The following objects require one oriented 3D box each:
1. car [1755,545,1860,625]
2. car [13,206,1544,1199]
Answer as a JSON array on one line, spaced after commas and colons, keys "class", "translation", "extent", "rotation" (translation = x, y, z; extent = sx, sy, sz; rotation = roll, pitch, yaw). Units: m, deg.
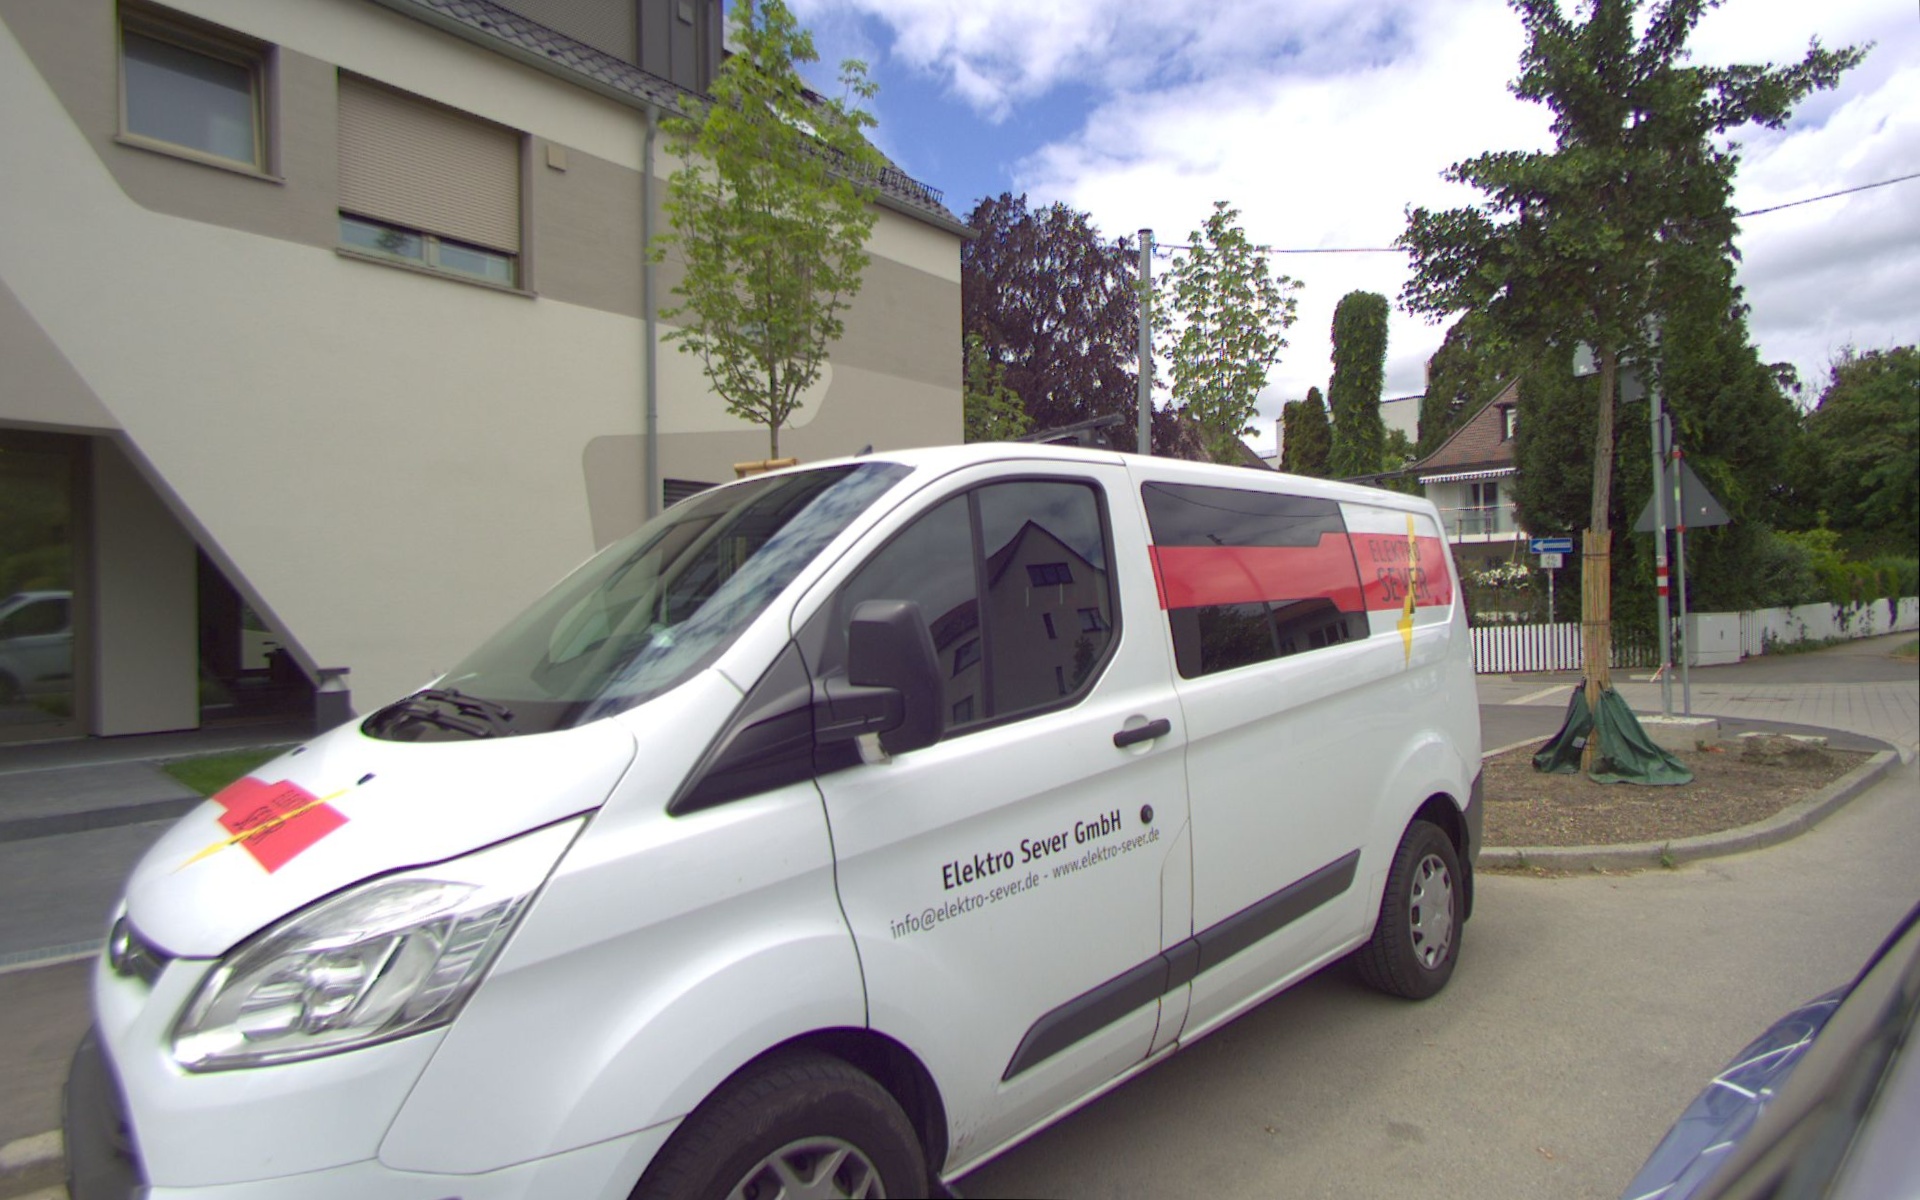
[{"class": "car", "translation": [31.491, -0.549, 37.549], "extent": [2.497, 2.716, 5.104], "rotation": [-4, -2, 44]}, {"class": "car", "translation": [0.078, 0.511, 3.485], "extent": [4.820, 1.940, 1.960], "rotation": [-2, -1, -43]}]
